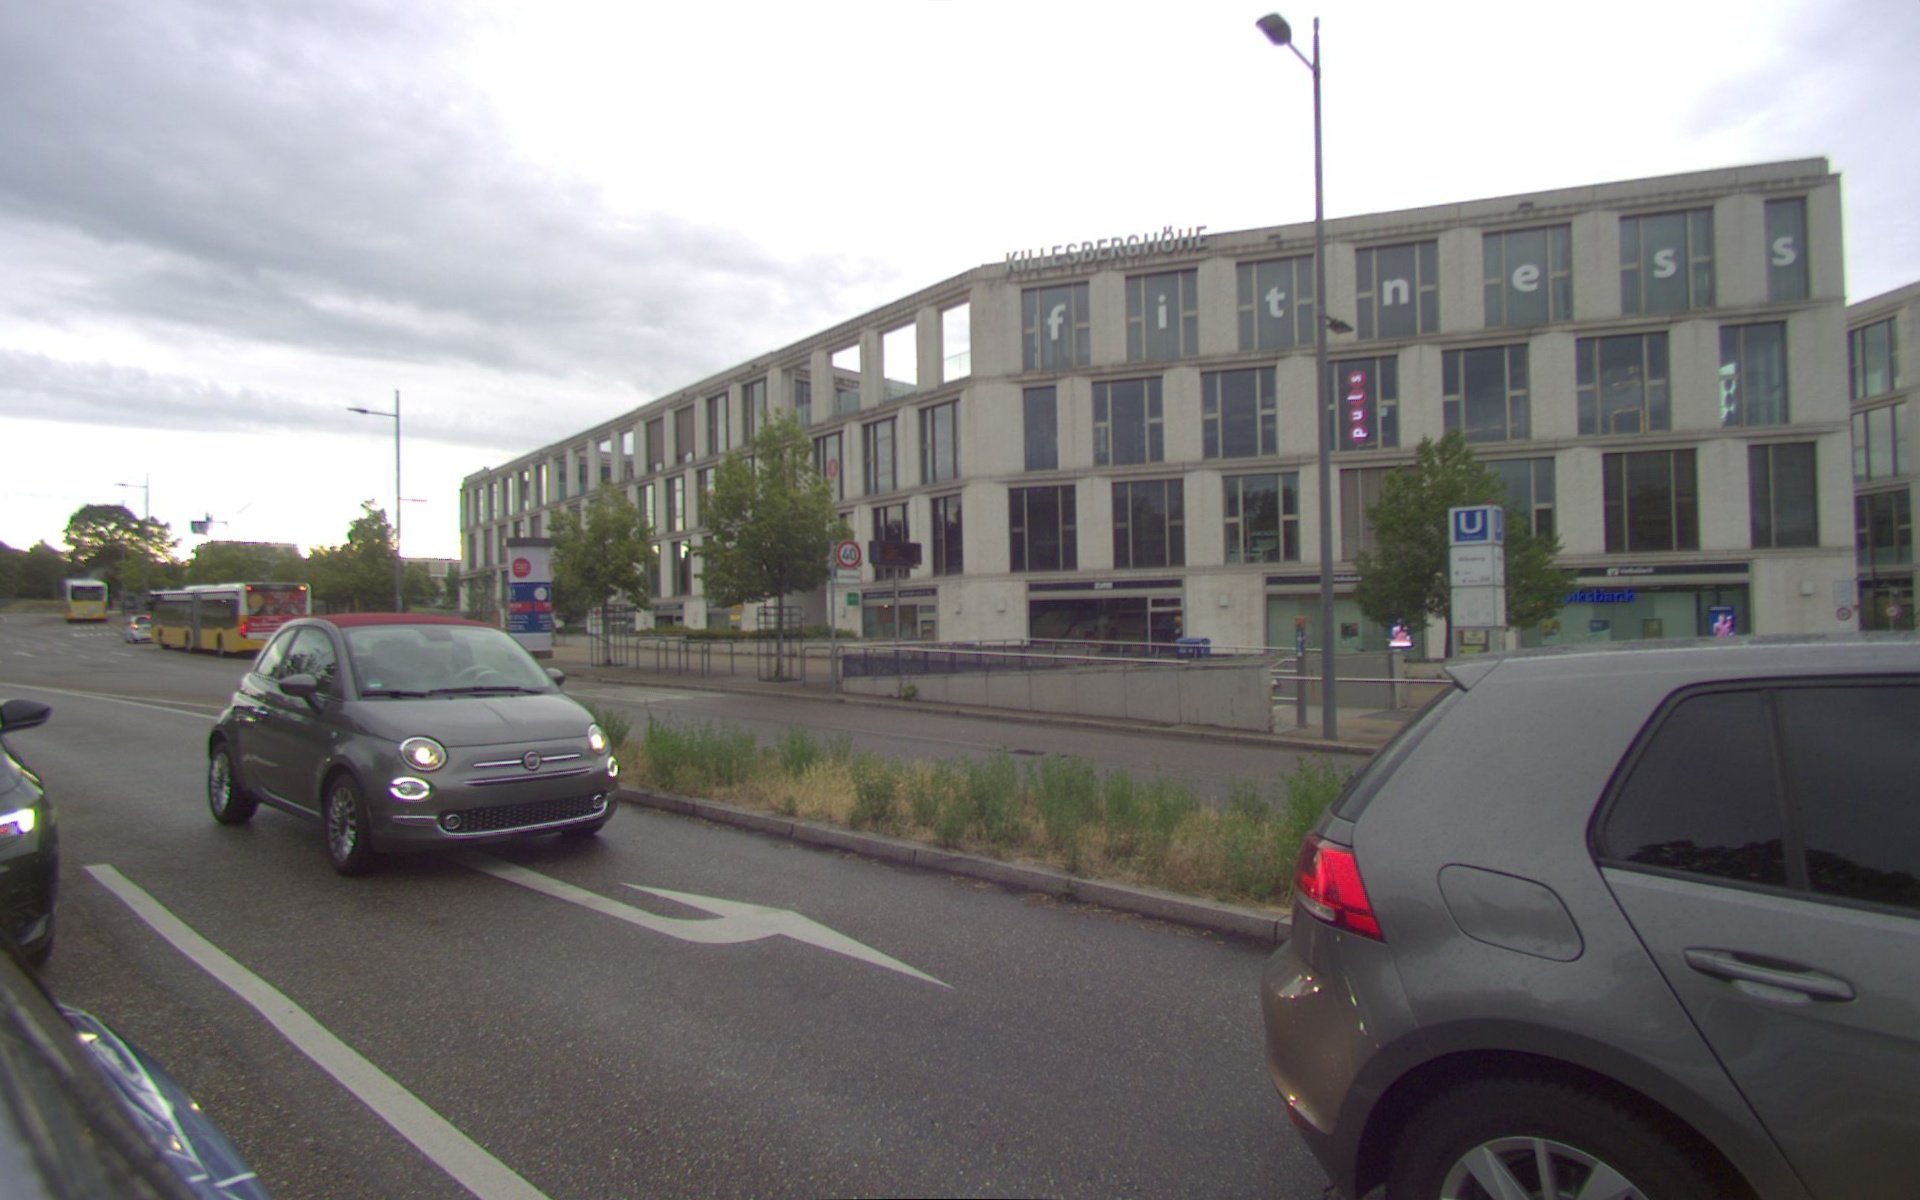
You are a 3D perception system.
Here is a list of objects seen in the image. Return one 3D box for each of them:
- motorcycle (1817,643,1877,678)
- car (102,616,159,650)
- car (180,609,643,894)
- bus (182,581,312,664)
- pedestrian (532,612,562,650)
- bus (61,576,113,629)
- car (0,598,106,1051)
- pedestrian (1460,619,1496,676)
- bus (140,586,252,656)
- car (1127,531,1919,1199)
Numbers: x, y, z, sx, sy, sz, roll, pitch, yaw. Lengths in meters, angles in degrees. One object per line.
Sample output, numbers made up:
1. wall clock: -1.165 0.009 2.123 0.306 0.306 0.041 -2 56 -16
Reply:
1. motorcycle: 20.411 1.391 23.309 0.517 0.746 1.098 -1 0 9
2. car: -46.776 1.826 57.040 3.998 1.800 1.843 -1 0 41
3. car: -3.921 0.829 7.049 3.502 1.492 1.611 -1 -1 39
4. bus: -31.124 0.917 43.970 9.206 3.236 2.723 -1 0 43
5. pedestrian: -17.680 1.302 43.320 0.968 1.593 0.868 -1 0 -7
6. bus: -76.342 0.261 88.741 2.717 4.185 19.383 -1 0 -39
7. car: -5.363 0.763 4.367 4.766 1.476 1.877 -1 0 41
8. pedestrian: 14.964 1.368 29.226 0.911 1.617 0.757 -1 -1 28
9. bus: -38.151 0.986 50.377 9.911 3.205 2.658 -1 0 42
10. car: 2.593 0.651 1.455 4.374 1.492 1.797 -1 -2 41
